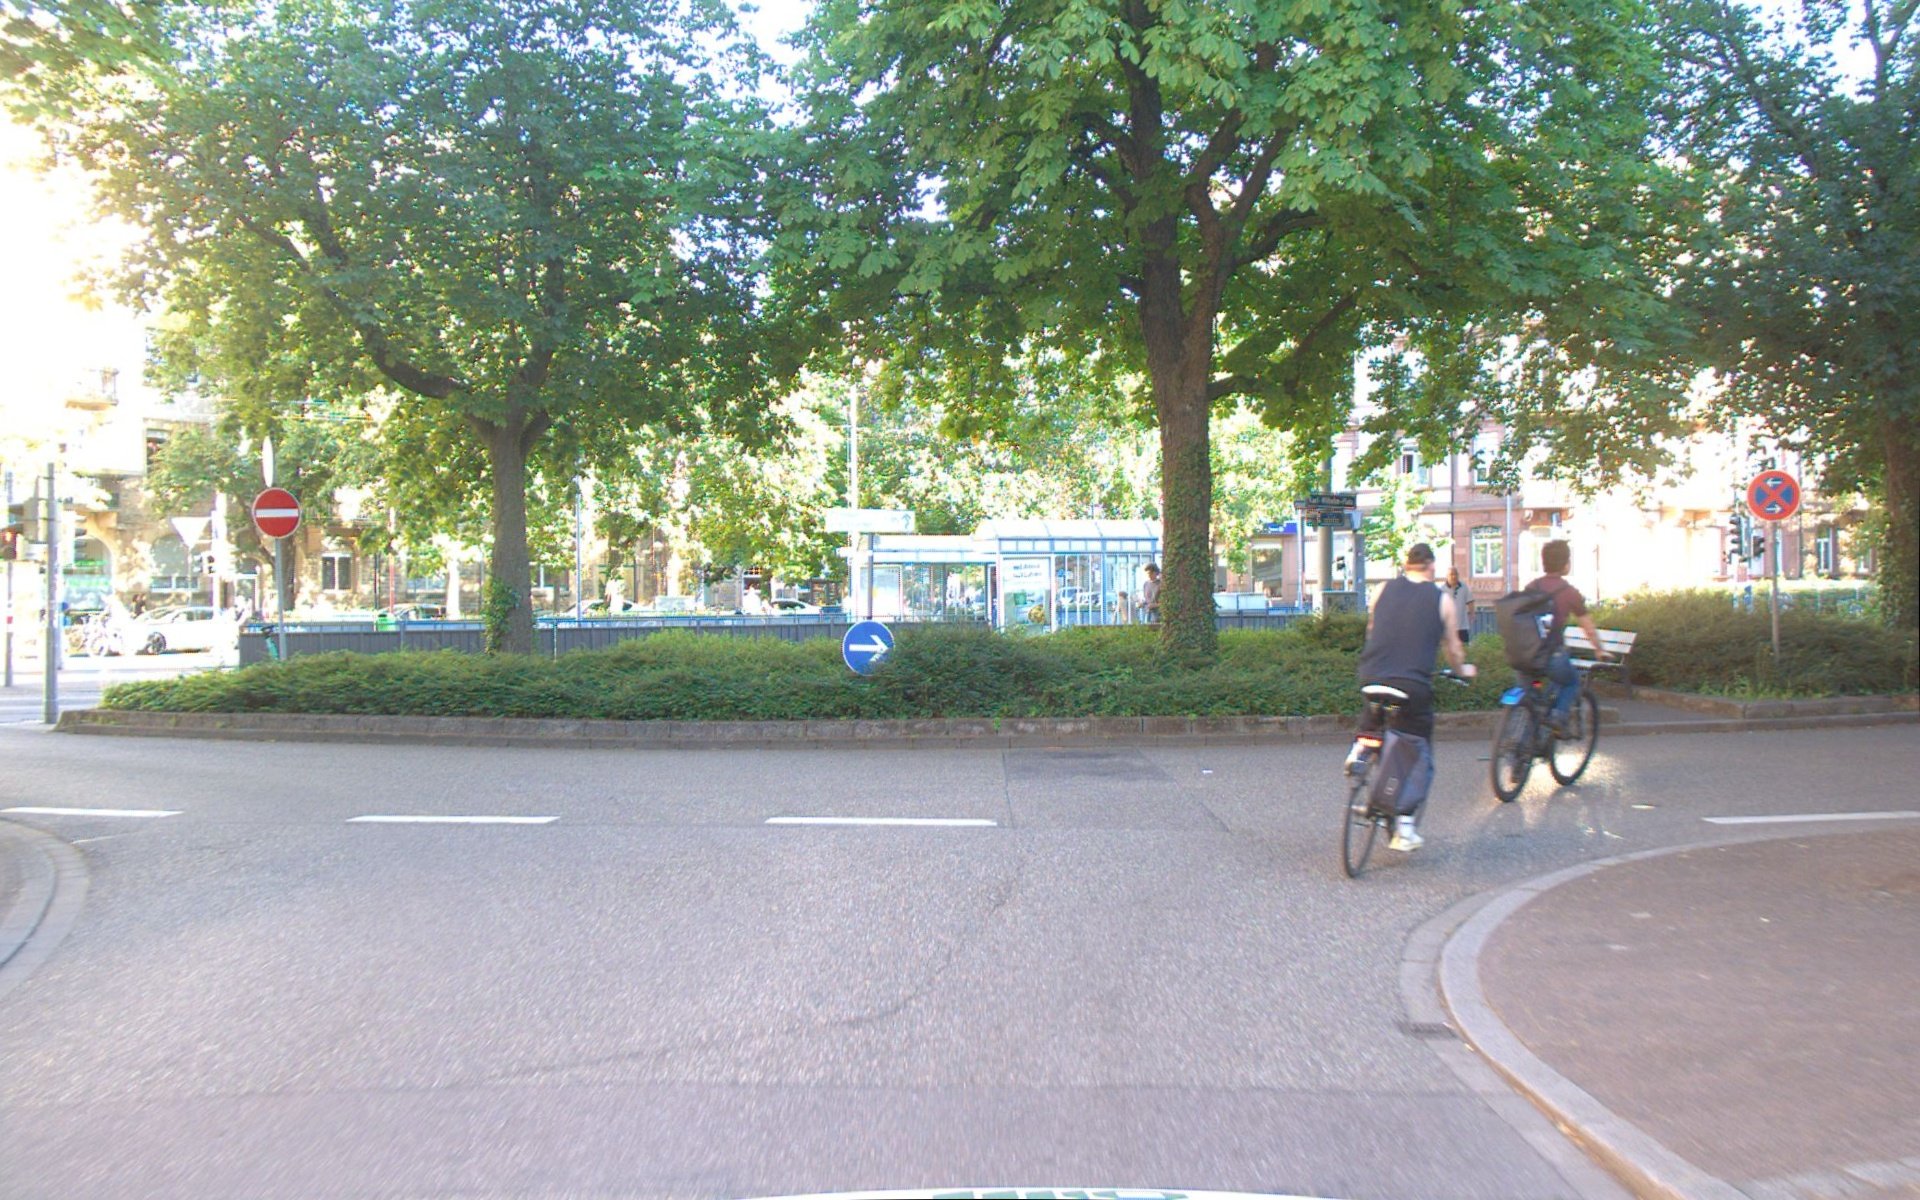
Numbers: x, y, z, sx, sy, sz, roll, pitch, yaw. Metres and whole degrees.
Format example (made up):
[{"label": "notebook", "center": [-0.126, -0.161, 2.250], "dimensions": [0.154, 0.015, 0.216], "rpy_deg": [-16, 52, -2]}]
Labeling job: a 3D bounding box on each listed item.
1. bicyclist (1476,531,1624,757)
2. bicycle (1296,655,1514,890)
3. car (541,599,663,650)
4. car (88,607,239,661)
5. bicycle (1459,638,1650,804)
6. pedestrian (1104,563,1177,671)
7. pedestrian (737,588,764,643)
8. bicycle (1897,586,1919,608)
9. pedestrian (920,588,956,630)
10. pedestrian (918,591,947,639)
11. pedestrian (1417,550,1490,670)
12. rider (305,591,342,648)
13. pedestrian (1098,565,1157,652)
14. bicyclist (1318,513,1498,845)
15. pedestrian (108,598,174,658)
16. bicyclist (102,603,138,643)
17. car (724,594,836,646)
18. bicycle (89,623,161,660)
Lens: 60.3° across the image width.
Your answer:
[{"label": "bicyclist", "center": [4.246, 0.306, 11.877], "dimensions": [0.661, 1.541, 1.064], "rpy_deg": [-2, -1, 38]}, {"label": "bicycle", "center": [2.508, 0.875, 9.140], "dimensions": [0.723, 1.029, 2.058], "rpy_deg": [1, 1, 28]}, {"label": "car", "center": [-13.026, 0.881, 60.257], "dimensions": [3.920, 1.708, 1.922], "rpy_deg": [-1, 0, -45]}, {"label": "car", "center": [-23.559, 0.992, 49.051], "dimensions": [1.857, 1.464, 3.704], "rpy_deg": [-1, 0, 25]}, {"label": "bicycle", "center": [4.329, 0.829, 11.950], "dimensions": [0.663, 1.072, 2.051], "rpy_deg": [-2, -2, 39]}, {"label": "pedestrian", "center": [2.929, 0.271, 26.807], "dimensions": [0.880, 1.713, 0.817], "rpy_deg": [-1, 0, 33]}, {"label": "pedestrian", "center": [-6.691, 0.482, 52.775], "dimensions": [0.692, 1.724, 0.666], "rpy_deg": [1, 0, -23]}, {"label": "bicycle", "center": [39.631, -0.126, 68.485], "dimensions": [1.414, 0.877, 0.450], "rpy_deg": [-1, 0, -6]}, {"label": "pedestrian", "center": [-0.889, 0.369, 66.552], "dimensions": [0.986, 1.659, 1.058], "rpy_deg": [-1, 0, 43]}, {"label": "pedestrian", "center": [-0.919, 0.502, 55.419], "dimensions": [0.795, 1.570, 0.818], "rpy_deg": [1, 0, -12]}, {"label": "pedestrian", "center": [7.227, 0.136, 24.246], "dimensions": [0.896, 1.713, 0.781], "rpy_deg": [-1, 0, 9]}, {"label": "rider", "center": [-19.207, 0.588, 49.917], "dimensions": [0.801, 1.711, 0.671], "rpy_deg": [1, 0, 9]}, {"label": "pedestrian", "center": [3.791, 0.191, 37.390], "dimensions": [1.003, 1.930, 0.906], "rpy_deg": [-1, 0, -23]}, {"label": "bicyclist", "center": [2.481, 0.407, 9.109], "dimensions": [0.738, 1.711, 0.912], "rpy_deg": [-1, 0, 29]}, {"label": "pedestrian", "center": [-27.340, 0.936, 55.235], "dimensions": [1.231, 1.945, 1.493], "rpy_deg": [-1, 0, 26]}, {"label": "bicyclist", "center": [-23.467, 0.642, 46.206], "dimensions": [0.598, 1.072, 0.676], "rpy_deg": [-1, 0, 26]}, {"label": "car", "center": [-7.016, 0.761, 64.496], "dimensions": [3.939, 1.903, 1.983], "rpy_deg": [-1, 0, -26]}, {"label": "bicycle", "center": [-23.390, 1.151, 46.352], "dimensions": [0.640, 0.962, 1.741], "rpy_deg": [-1, 0, 26]}]
